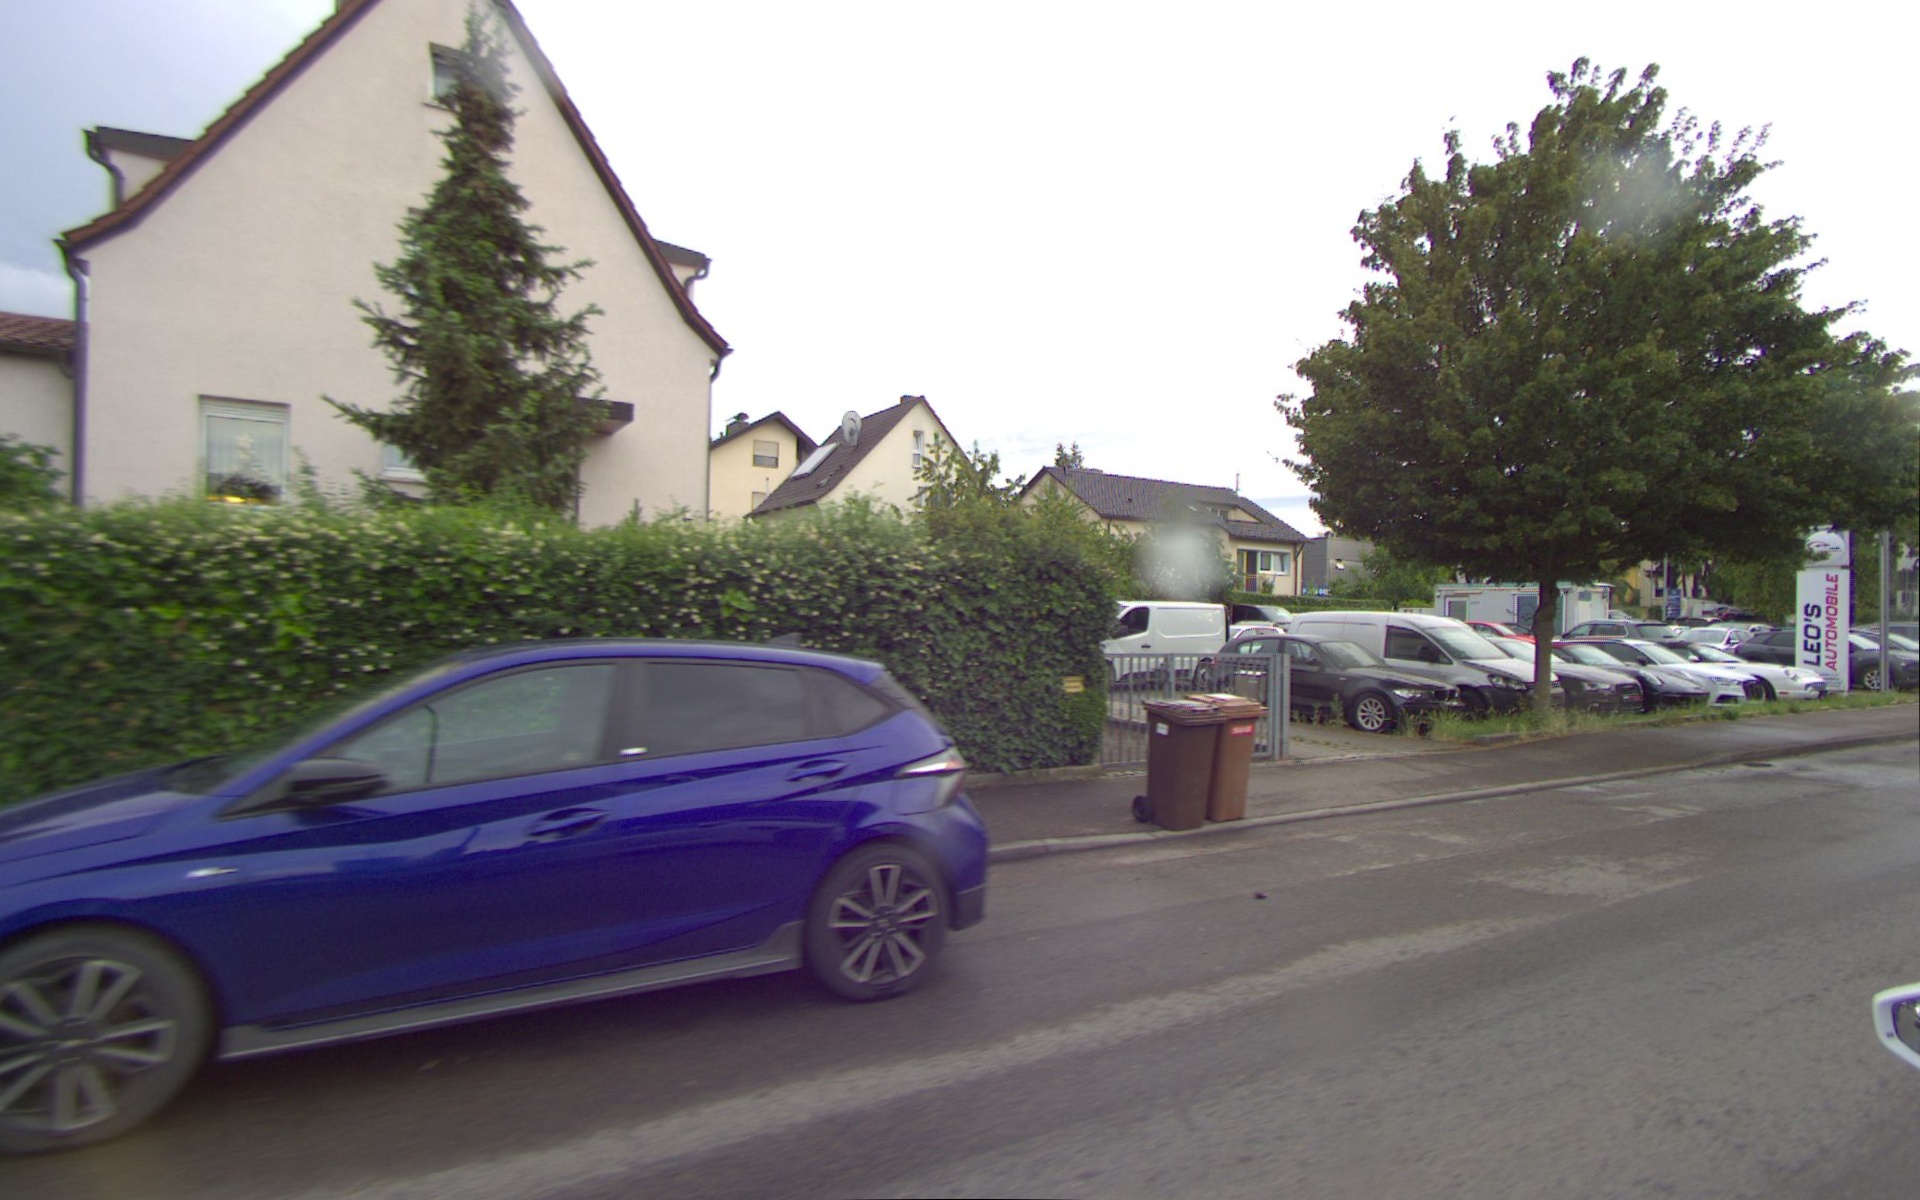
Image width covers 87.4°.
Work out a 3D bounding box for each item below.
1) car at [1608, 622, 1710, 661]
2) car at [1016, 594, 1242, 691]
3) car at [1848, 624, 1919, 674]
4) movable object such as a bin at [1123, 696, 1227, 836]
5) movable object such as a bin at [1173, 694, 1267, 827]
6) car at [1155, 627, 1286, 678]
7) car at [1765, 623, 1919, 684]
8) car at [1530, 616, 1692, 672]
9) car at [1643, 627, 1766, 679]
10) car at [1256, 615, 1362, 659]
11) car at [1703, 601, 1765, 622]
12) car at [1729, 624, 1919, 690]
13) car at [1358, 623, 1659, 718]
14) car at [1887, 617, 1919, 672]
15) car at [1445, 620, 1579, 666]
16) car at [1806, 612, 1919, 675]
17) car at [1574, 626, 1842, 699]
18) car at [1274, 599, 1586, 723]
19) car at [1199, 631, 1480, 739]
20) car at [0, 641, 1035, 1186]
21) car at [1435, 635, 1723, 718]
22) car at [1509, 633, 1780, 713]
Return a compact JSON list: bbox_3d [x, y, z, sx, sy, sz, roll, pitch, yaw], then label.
[{"bbox_3d":[26.560,1.547,38.141,3.952,1.417,1.684,1,-1,-30],"label":"car"},{"bbox_3d":[3.857,0.919,22.597,4.998,1.956,1.982,1,-1,-33],"label":"car"},{"bbox_3d":[29.419,1.485,29.723,1.935,1.451,4.329,1,0,-29],"label":"car"},{"bbox_3d":[1.610,1.222,7.553,0.500,0.923,0.537,1,2,-31],"label":"movable object such as a bin"},{"bbox_3d":[2.025,1.235,7.851,0.420,0.923,0.537,1,2,-31],"label":"movable object such as a bin"},{"bbox_3d":[7.198,1.408,27.639,3.499,1.252,1.647,1,0,-36],"label":"car"},{"bbox_3d":[24.914,1.426,27.311,1.917,1.483,4.329,1,0,-29],"label":"car"},{"bbox_3d":[19.500,1.272,30.308,1.903,1.519,3.992,1,0,-11],"label":"car"},{"bbox_3d":[23.432,1.625,31.585,3.952,1.550,1.684,1,-1,-30],"label":"car"},{"bbox_3d":[13.499,1.397,39.043,1.765,1.592,3.719,1,0,-28],"label":"car"},{"bbox_3d":[69.795,1.007,90.662,3.919,1.747,2.001,1,1,8],"label":"car"},{"bbox_3d":[22.749,1.412,26.127,1.817,1.483,3.970,1,0,-29],"label":"car"},{"bbox_3d":[9.884,1.191,18.465,1.878,1.437,4.530,1,-1,-33],"label":"car"},{"bbox_3d":[31.632,1.422,30.809,1.935,1.713,4.329,1,0,-29],"label":"car"},{"bbox_3d":[20.342,1.541,37.147,1.817,1.550,3.966,1,-1,-31],"label":"car"},{"bbox_3d":[27.139,1.236,28.547,2.033,1.714,4.329,1,0,-29],"label":"car"},{"bbox_3d":[16.267,1.297,22.105,1.750,1.349,4.431,1,-1,-29],"label":"car"},{"bbox_3d":[7.817,0.919,17.144,1.878,1.814,4.530,1,-1,-33],"label":"car"},{"bbox_3d":[5.849,1.233,15.890,1.743,1.390,3.888,1,-1,-33],"label":"car"},{"bbox_3d":[-1.795,0.895,4.171,3.898,1.421,1.798,1,-2,-30],"label":"car"},{"bbox_3d":[12.014,1.412,19.840,1.867,1.327,4.536,1,-1,-30],"label":"car"},{"bbox_3d":[14.189,1.444,21.096,1.867,1.392,4.356,1,-1,-30],"label":"car"}]
